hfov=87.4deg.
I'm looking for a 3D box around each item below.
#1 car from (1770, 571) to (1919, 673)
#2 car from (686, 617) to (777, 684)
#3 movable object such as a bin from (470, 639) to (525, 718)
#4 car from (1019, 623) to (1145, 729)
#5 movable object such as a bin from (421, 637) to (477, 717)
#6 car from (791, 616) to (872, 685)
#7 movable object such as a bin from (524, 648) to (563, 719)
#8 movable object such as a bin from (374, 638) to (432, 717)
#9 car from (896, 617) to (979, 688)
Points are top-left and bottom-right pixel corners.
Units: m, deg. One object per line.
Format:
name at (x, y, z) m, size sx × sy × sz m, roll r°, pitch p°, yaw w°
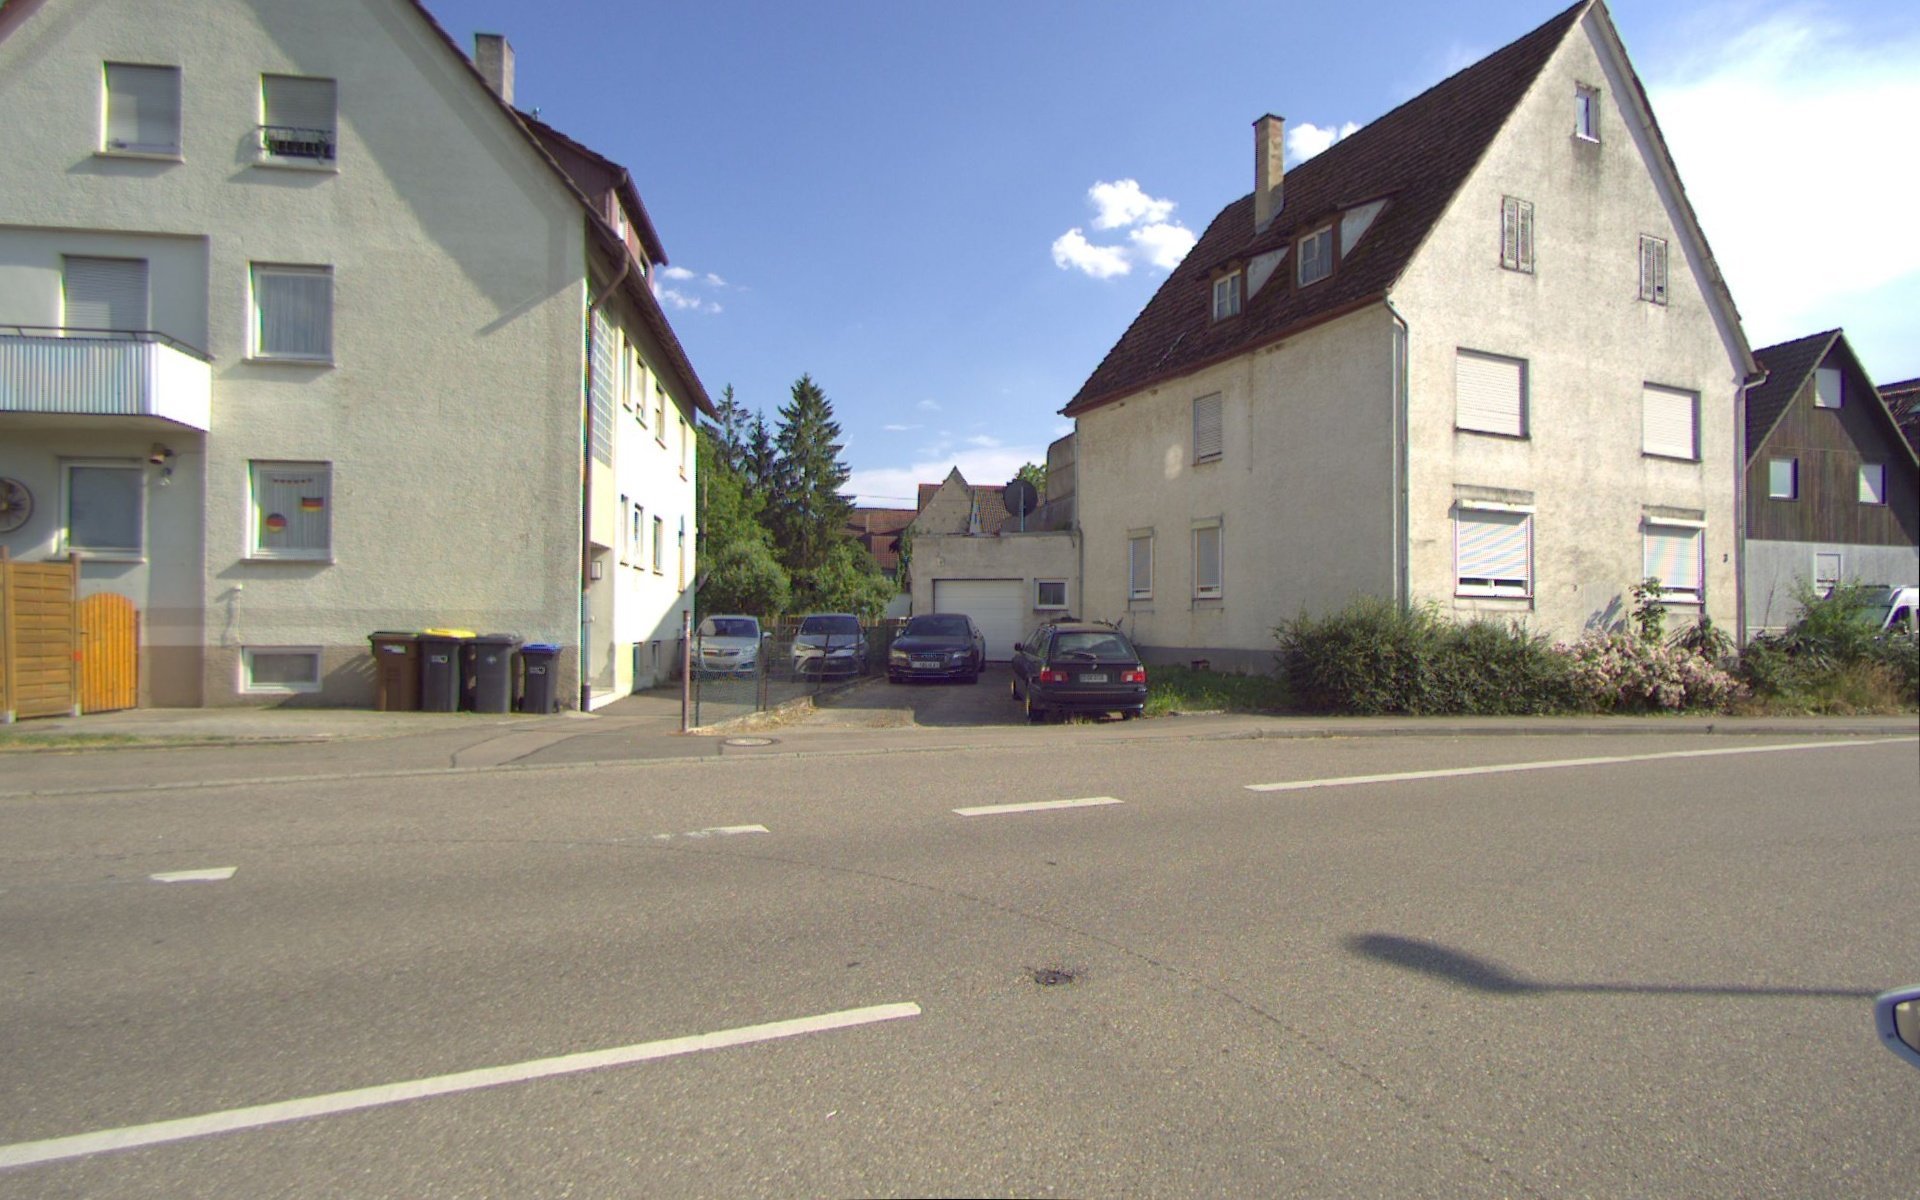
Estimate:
car at (25.621, 0.612, 27.996) m, size 6.006 × 2.630 × 2.154 m, roll 1°, pitch -1°, yaw -22°
car at (-5.365, 1.145, 24.020) m, size 1.520 × 1.405 × 3.998 m, roll 0°, pitch 0°, yaw -4°
movable object such as a bin at (-6.280, 1.066, 13.661) m, size 0.566 × 1.036 × 0.362 m, roll 2°, pitch -2°, yaw -10°
car at (1.861, 1.124, 16.310) m, size 1.620 × 1.452 × 4.001 m, roll 0°, pitch -1°, yaw 1°
movable object such as a bin at (-6.885, 1.031, 13.549) m, size 0.548 × 1.055 × 0.362 m, roll 2°, pitch -2°, yaw -10°
car at (-2.931, 1.121, 23.542) m, size 1.654 × 1.432 × 3.998 m, roll 0°, pitch 0°, yaw -4°
movable object such as a bin at (-5.730, 1.145, 13.831) m, size 0.393 × 0.937 × 0.362 m, roll 2°, pitch -2°, yaw -10°
movable object such as a bin at (-7.440, 1.027, 13.433) m, size 0.548 × 1.029 × 0.362 m, roll 2°, pitch -2°, yaw -10°
car at (-0.574, 1.081, 22.146) m, size 1.654 × 1.379 × 3.998 m, roll 0°, pitch 0°, yaw -4°
